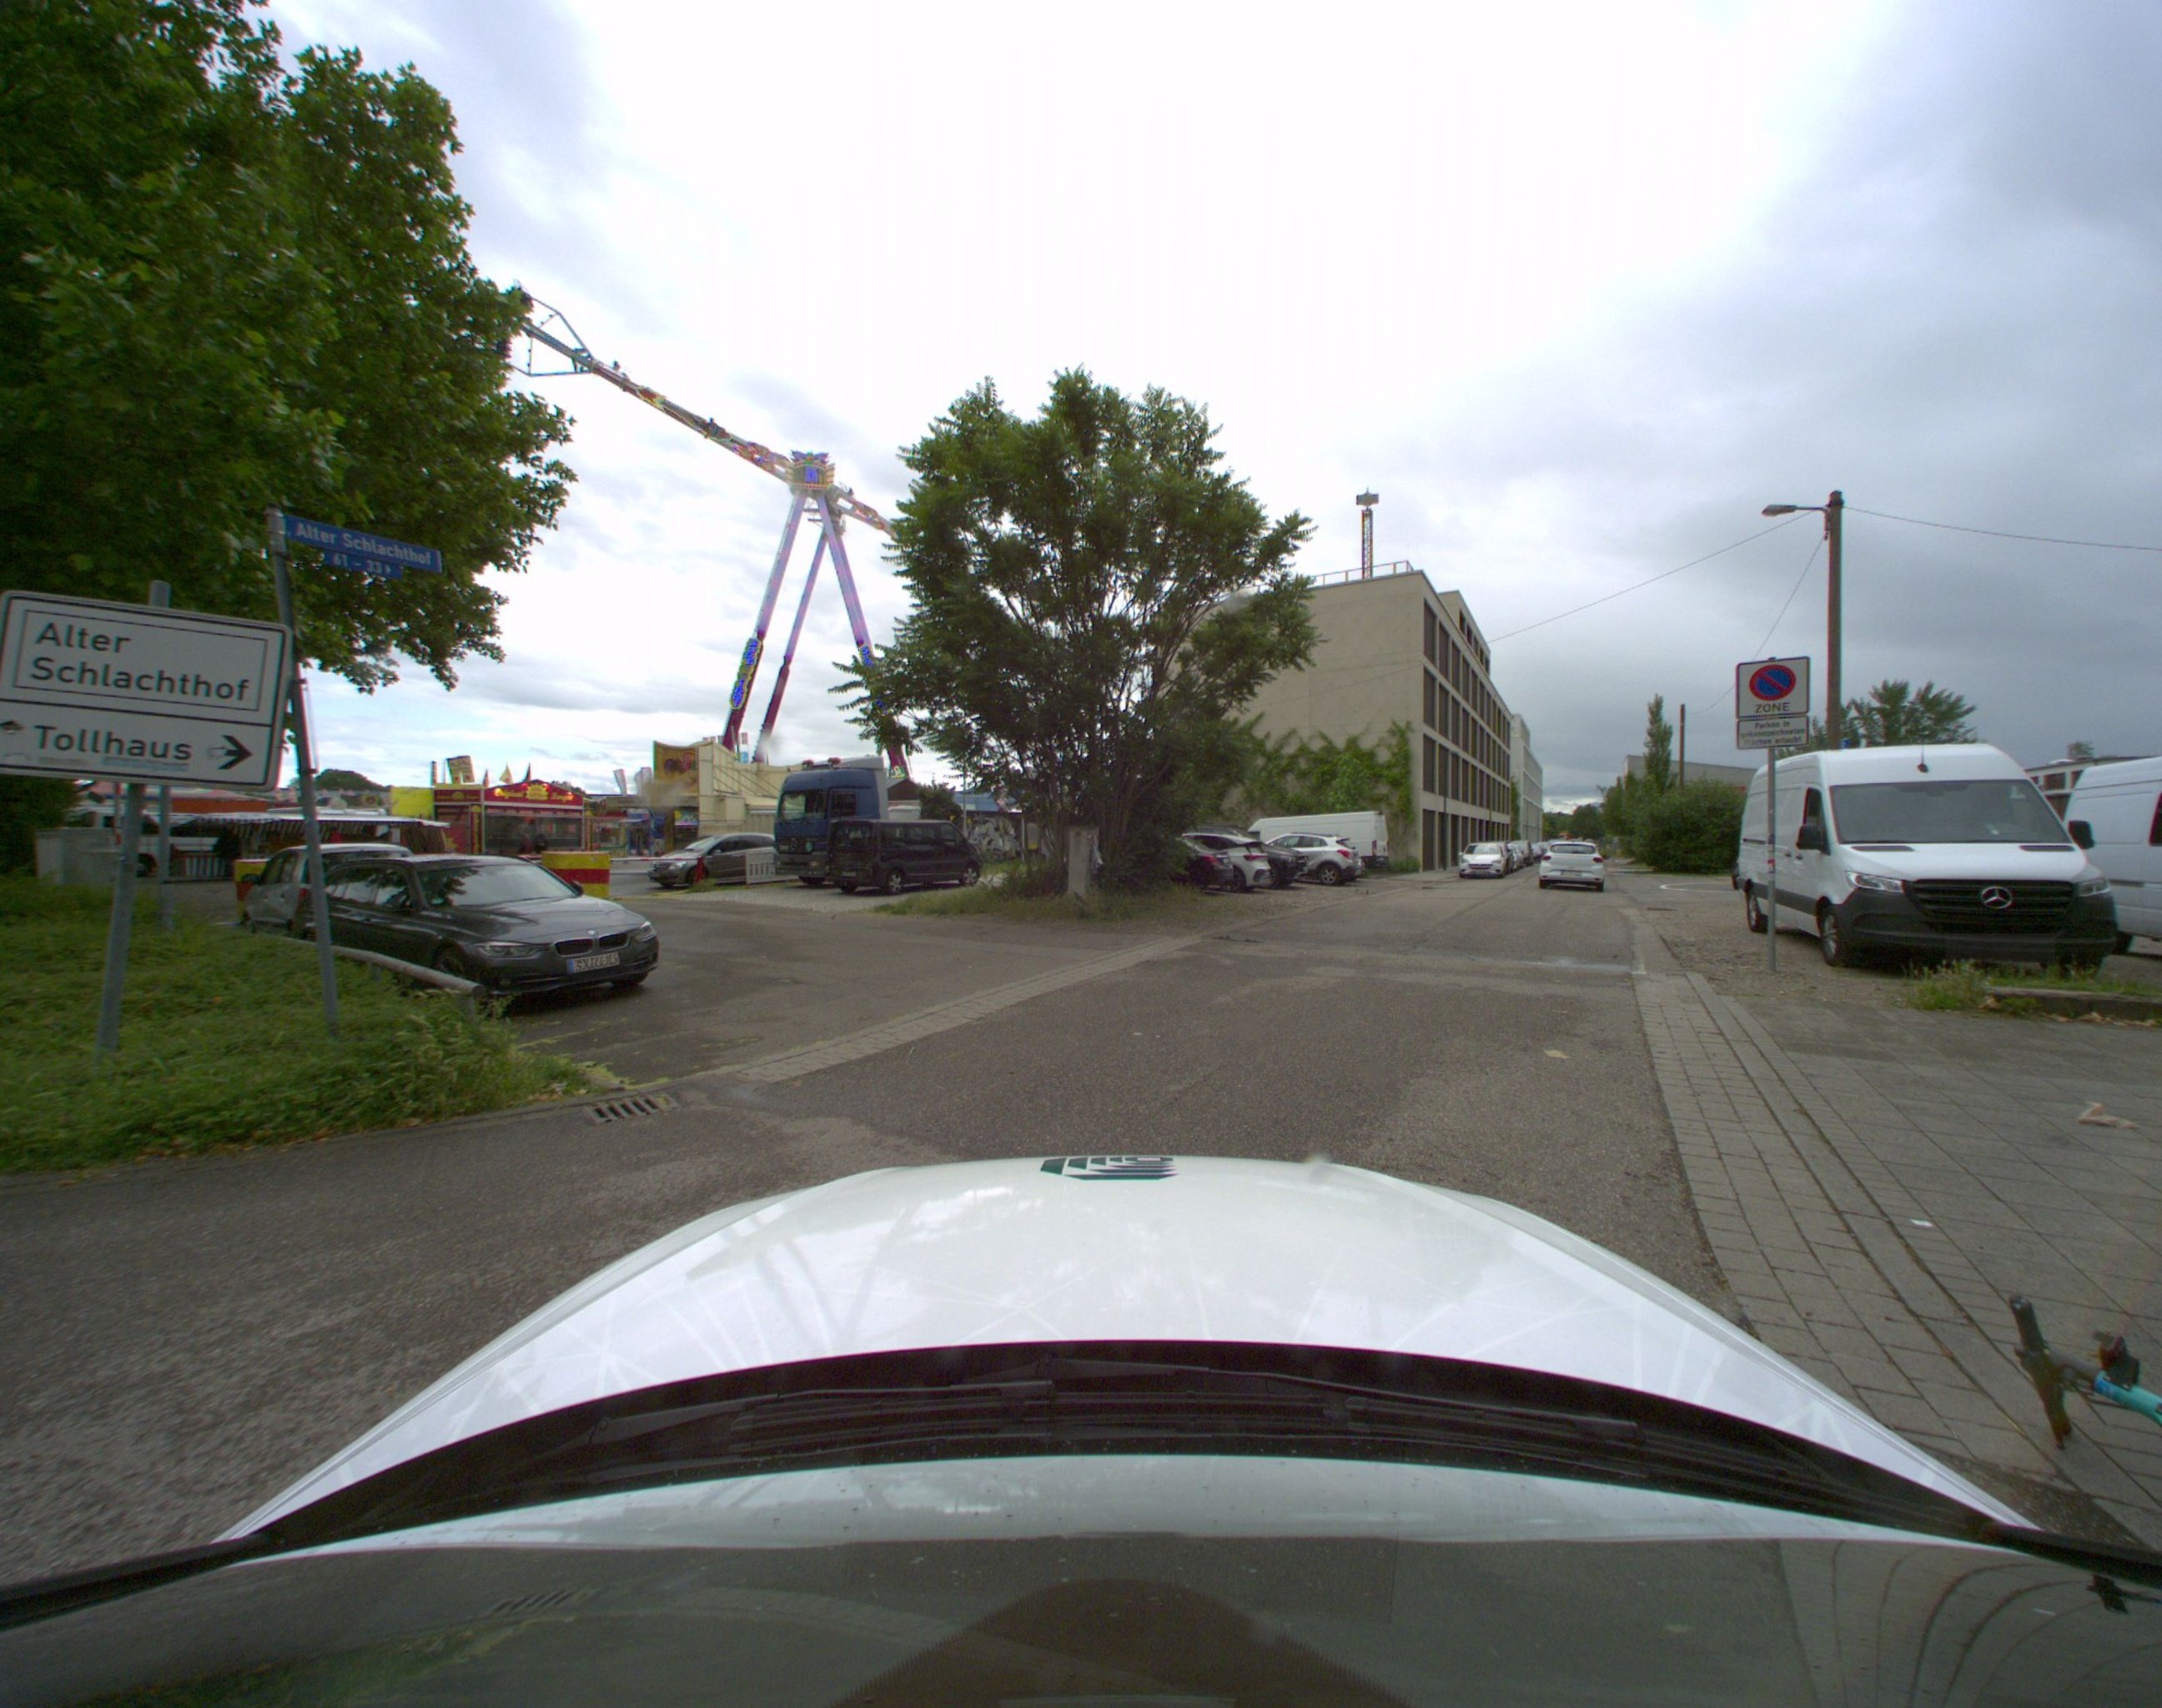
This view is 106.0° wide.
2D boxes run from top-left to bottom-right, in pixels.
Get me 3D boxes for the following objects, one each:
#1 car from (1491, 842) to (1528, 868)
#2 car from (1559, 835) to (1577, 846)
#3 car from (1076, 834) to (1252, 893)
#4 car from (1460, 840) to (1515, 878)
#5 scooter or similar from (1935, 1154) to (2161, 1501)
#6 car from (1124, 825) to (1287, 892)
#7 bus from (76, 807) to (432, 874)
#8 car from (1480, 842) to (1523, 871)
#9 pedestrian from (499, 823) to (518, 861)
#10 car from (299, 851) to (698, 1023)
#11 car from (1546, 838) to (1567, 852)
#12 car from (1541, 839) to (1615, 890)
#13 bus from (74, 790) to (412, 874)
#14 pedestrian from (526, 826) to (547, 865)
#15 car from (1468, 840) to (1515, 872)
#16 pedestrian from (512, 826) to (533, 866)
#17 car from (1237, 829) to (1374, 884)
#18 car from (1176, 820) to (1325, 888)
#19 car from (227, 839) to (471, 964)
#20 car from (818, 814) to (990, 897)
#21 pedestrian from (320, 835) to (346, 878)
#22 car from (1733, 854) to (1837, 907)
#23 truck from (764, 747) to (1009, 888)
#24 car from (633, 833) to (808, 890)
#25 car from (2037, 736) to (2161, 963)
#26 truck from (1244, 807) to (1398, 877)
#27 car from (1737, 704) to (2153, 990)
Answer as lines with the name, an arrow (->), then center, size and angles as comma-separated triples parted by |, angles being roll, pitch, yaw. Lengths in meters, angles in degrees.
car -> 26.171, 0.045, 49.644 | 1.867, 1.453, 4.025 | 0, 1, 30
car -> 63.197, -1.746, 105.675 | 1.867, 1.453, 4.025 | 0, 1, 30
car -> 2.058, 0.231, 20.432 | 3.949, 1.349, 1.903 | 0, -1, 30
car -> 17.349, 0.175, 34.669 | 1.867, 1.453, 4.025 | 0, 1, 30
scooter or similar -> 2.998, 1.209, 1.818 | 1.185, 0.349, 1.317 | -3, 3, -33
car -> 3.406, 0.069, 22.409 | 3.949, 1.644, 1.903 | 2, 2, 30
bus -> -31.082, -0.561, 31.371 | 1.974, 2.227, 9.367 | 0, 1, 30
car -> 22.585, 0.112, 43.657 | 1.867, 1.453, 4.025 | 0, 1, 30
pedestrian -> -25.710, -0.542, 36.548 | 0.517, 1.686, 0.497 | 0, 1, 30
car -> -6.248, 0.700, 8.698 | 3.949, 1.430, 1.881 | 0, 1, 28
car -> 48.494, -0.936, 83.117 | 1.867, 1.453, 4.025 | 0, 1, 30
car -> 15.812, 0.263, 25.953 | 1.867, 1.453, 4.026 | 0, 1, 31
bus -> -33.496, -0.886, 33.273 | 1.974, 2.959, 9.367 | 0, 1, 30
pedestrian -> -23.766, -0.359, 35.553 | 0.489, 1.686, 0.526 | 0, 1, 16
car -> 20.226, 0.044, 40.019 | 1.867, 1.453, 4.025 | 0, 1, 30
pedestrian -> -23.942, -0.332, 34.895 | 0.489, 1.686, 0.526 | 0, 1, 16
car -> 7.407, 0.038, 26.884 | 3.949, 1.644, 1.903 | 2, 2, 30
car -> 5.081, -0.047, 24.487 | 3.949, 1.879, 1.903 | 1, 2, 31
car -> -11.204, 0.593, 12.410 | 3.948, 1.594, 1.881 | 0, 1, 35
car -> -4.721, -0.079, 22.423 | 1.974, 2.013, 4.618 | 1, 3, 31
pedestrian -> -25.920, 0.090, 28.233 | 0.517, 1.462, 0.497 | 0, 1, 30
car -> 22.281, 0.762, 25.937 | 1.867, 1.453, 4.026 | 0, 1, 31
truck -> -5.865, -1.095, 26.338 | 2.566, 3.822, 8.270 | 0, 1, 31
car -> -10.960, 0.149, 25.109 | 1.974, 1.575, 4.618 | 0, 1, 31
car -> 12.956, -0.050, 8.612 | 2.013, 2.535, 5.840 | 0, -1, 32
truck -> 10.029, -0.558, 34.292 | 5.782, 2.727, 2.068 | 2, 2, 36
car -> 10.227, -0.133, 10.396 | 2.073, 2.555, 6.081 | 0, 1, 31
